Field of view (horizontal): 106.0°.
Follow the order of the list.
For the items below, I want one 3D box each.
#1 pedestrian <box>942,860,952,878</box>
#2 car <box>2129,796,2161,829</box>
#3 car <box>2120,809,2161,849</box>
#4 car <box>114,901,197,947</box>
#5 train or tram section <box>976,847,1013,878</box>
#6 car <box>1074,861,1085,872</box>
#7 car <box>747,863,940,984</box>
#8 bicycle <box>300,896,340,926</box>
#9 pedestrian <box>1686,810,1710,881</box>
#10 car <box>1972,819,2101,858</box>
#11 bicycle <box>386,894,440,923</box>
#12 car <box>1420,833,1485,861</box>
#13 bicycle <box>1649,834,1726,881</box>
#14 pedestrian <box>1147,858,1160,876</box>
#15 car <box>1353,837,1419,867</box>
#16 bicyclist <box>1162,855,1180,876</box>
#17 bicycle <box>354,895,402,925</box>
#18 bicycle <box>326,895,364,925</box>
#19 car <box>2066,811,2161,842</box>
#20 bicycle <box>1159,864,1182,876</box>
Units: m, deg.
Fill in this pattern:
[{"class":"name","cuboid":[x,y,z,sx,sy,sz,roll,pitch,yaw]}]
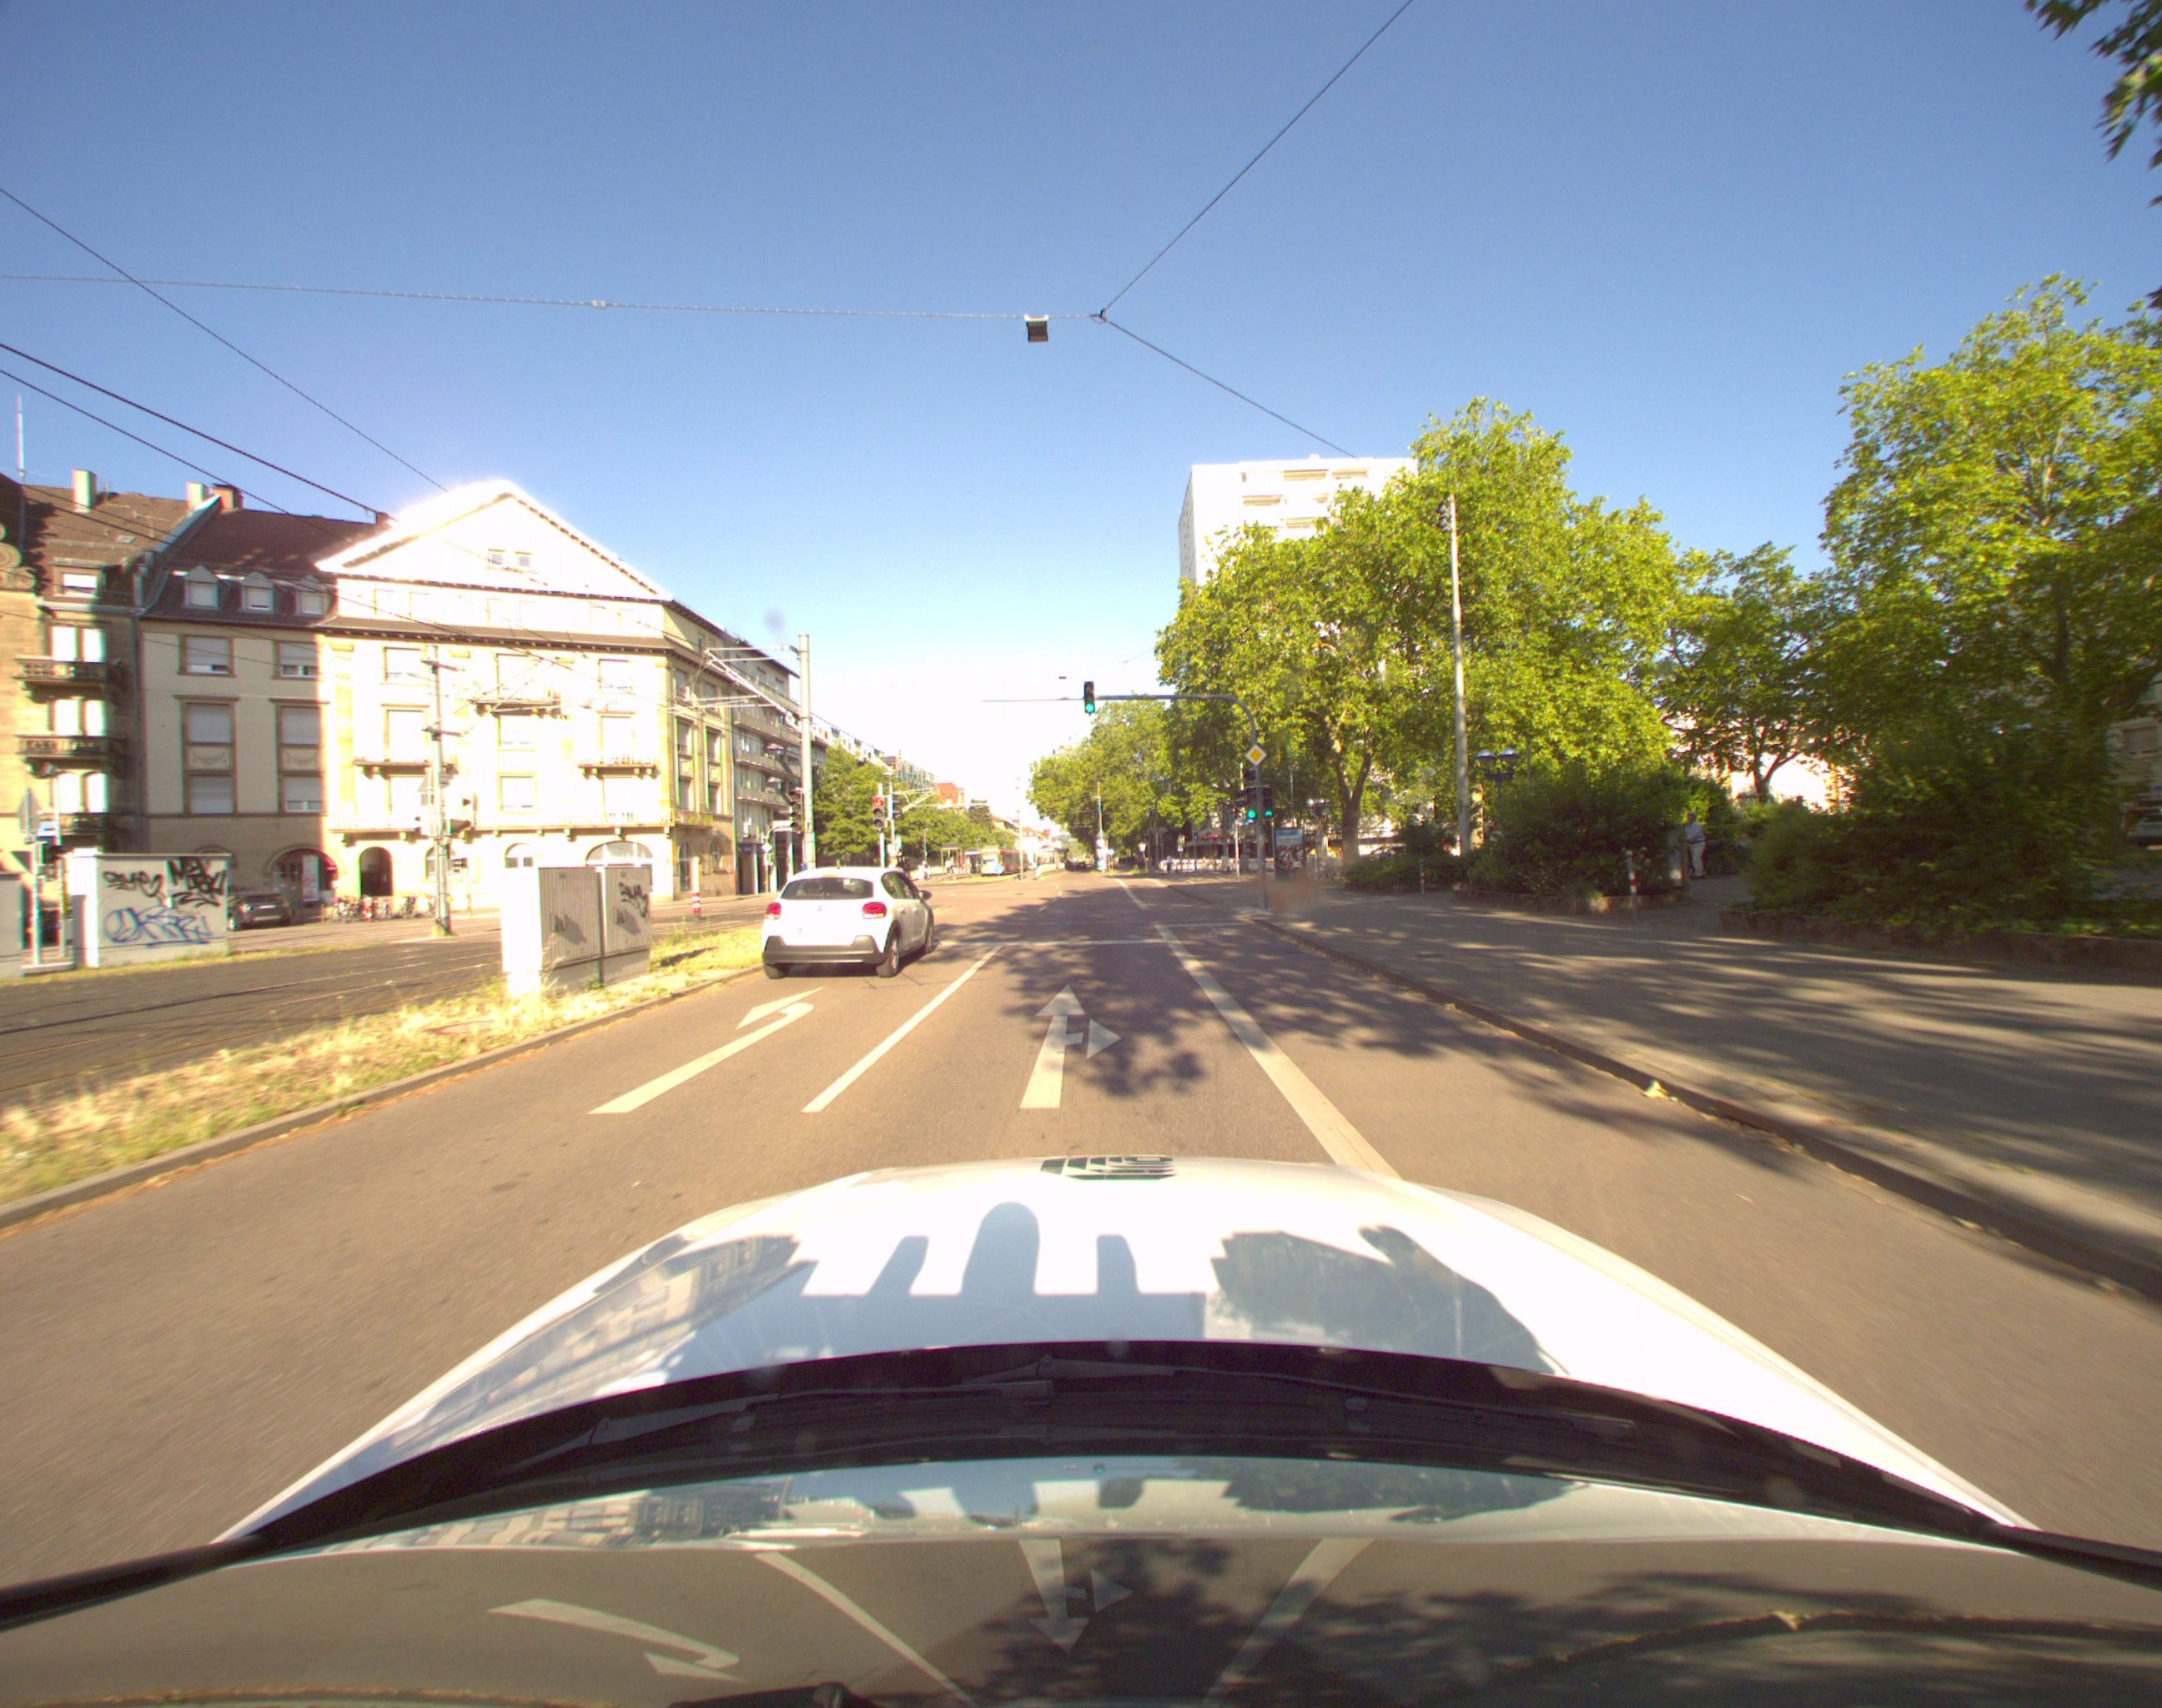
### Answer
[{"class":"pedestrian","cuboid":[-13.799,1.493,83.712,0.960,1.833,0.988,0,0,-5]},{"class":"car","cuboid":[57.235,-2.134,42.115,3.978,1.659,1.817,0,0,-3]},{"class":"car","cuboid":[46.839,-1.151,34.317,4.279,1.618,1.858,-3,0,-8]},{"class":"car","cuboid":[-42.007,3.120,36.933,4.538,1.753,2.013,0,0,35]},{"class":"train or tram section","cuboid":[-10.072,0.921,95.862,2.941,3.410,10.795,0,0,2]},{"class":"car","cuboid":[-0.216,2.406,152.384,1.986,2.014,4.001,0,0,2]},{"class":"car","cuboid":[-3.285,0.890,12.006,1.739,1.462,3.644,0,0,0]},{"class":"bicycle","cuboid":[-36.590,2.720,39.185,0.826,1.283,2.540,0,0,-29]},{"class":"pedestrian","cuboid":[16.229,-0.224,21.437,0.393,1.866,0.337,0,-1,-20]},{"class":"car","cuboid":[46.362,-0.737,39.578,3.877,1.684,2.000,-3,0,-1]},{"class":"bicycle","cuboid":[-33.503,2.721,40.883,0.821,1.283,2.558,0,0,-7]},{"class":"car","cuboid":[27.039,-0.473,59.245,3.996,2.014,1.989,0,0,-17]},{"class":"bicycle","cuboid":[16.257,0.090,21.821,2.327,1.240,0.451,0,0,-20]},{"class":"pedestrian","cuboid":[5.404,0.965,61.057,0.653,1.388,0.837,0,-1,33]},{"class":"car","cuboid":[21.444,-0.136,57.224,3.996,2.014,1.989,0,0,-17]},{"class":"bicyclist","cuboid":[7.358,0.918,66.615,1.188,1.696,0.909,0,0,22]},{"class":"bicycle","cuboid":[-34.458,2.720,39.958,0.823,1.283,2.549,0,0,-18]},{"class":"bicycle","cuboid":[-35.794,2.720,39.639,0.826,1.283,2.540,0,0,-29]},{"class":"car","cuboid":[56.964,-1.485,44.628,3.978,1.659,1.817,0,0,-3]},{"class":"bicycle","cuboid":[7.337,1.299,66.599,1.188,0.934,2.588,0,0,22]}]
